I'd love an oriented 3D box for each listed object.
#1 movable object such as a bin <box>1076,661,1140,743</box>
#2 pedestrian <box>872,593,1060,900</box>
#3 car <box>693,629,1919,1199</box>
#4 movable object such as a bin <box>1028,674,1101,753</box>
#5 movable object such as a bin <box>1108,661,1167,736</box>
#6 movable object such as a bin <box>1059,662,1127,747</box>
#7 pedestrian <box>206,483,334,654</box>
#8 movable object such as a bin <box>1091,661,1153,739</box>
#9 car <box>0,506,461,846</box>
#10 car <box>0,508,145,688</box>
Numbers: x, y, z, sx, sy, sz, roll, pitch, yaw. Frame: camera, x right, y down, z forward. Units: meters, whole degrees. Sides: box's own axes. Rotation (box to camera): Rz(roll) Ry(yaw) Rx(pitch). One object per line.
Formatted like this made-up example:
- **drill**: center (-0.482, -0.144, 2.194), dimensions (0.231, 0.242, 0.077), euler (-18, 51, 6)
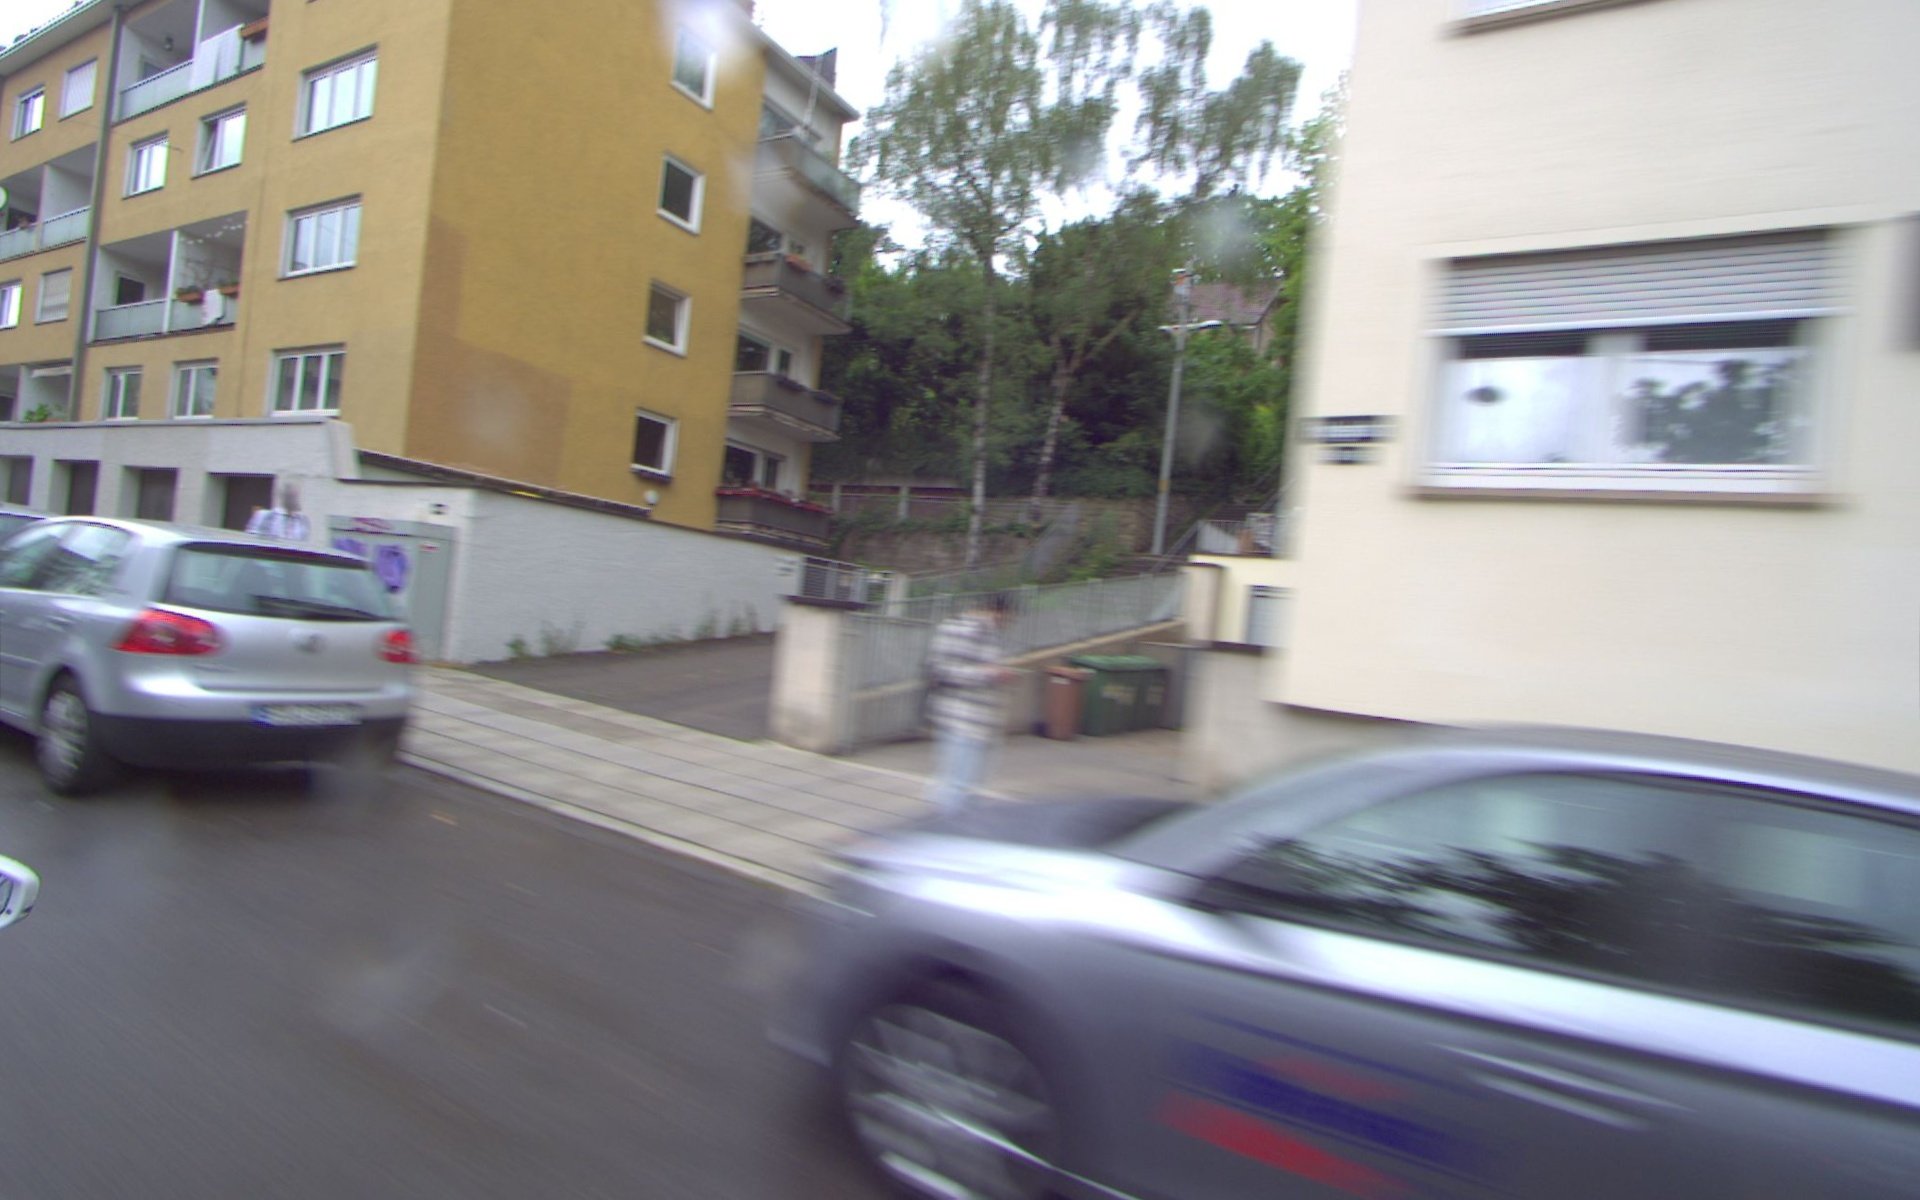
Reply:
- **movable object such as a bin**: center (2.124, 1.451, 14.431), dimensions (0.655, 1.054, 0.578), euler (7, 2, 28)
- **pedestrian**: center (0.036, 0.815, 5.983), dimensions (0.732, 1.626, 0.663), euler (8, 4, 35)
- **car**: center (1.398, 1.041, 2.653), dimensions (3.853, 1.438, 1.667), euler (6, -1, 28)
- **movable object such as a bin**: center (1.374, 1.466, 13.155), dimensions (0.641, 0.888, 0.742), euler (7, 2, 28)
- **movable object such as a bin**: center (2.732, 1.499, 15.466), dimensions (0.655, 1.054, 0.523), euler (7, 2, 28)
- **movable object such as a bin**: center (1.833, 1.426, 13.846), dimensions (0.655, 1.054, 0.578), euler (7, 2, 28)
- **pedestrian**: center (-7.661, -0.344, 11.198), dimensions (0.730, 1.756, 0.767), euler (8, 3, 2)
- **movable object such as a bin**: center (2.420, 1.473, 14.988), dimensions (0.655, 1.054, 0.578), euler (7, 2, 28)
- **car**: center (-5.270, 0.297, 6.540), dimensions (3.855, 1.520, 1.666), euler (7, -1, 30)
- **car**: center (-9.413, -0.186, 9.216), dimensions (3.855, 1.416, 1.666), euler (7, -1, 30)
